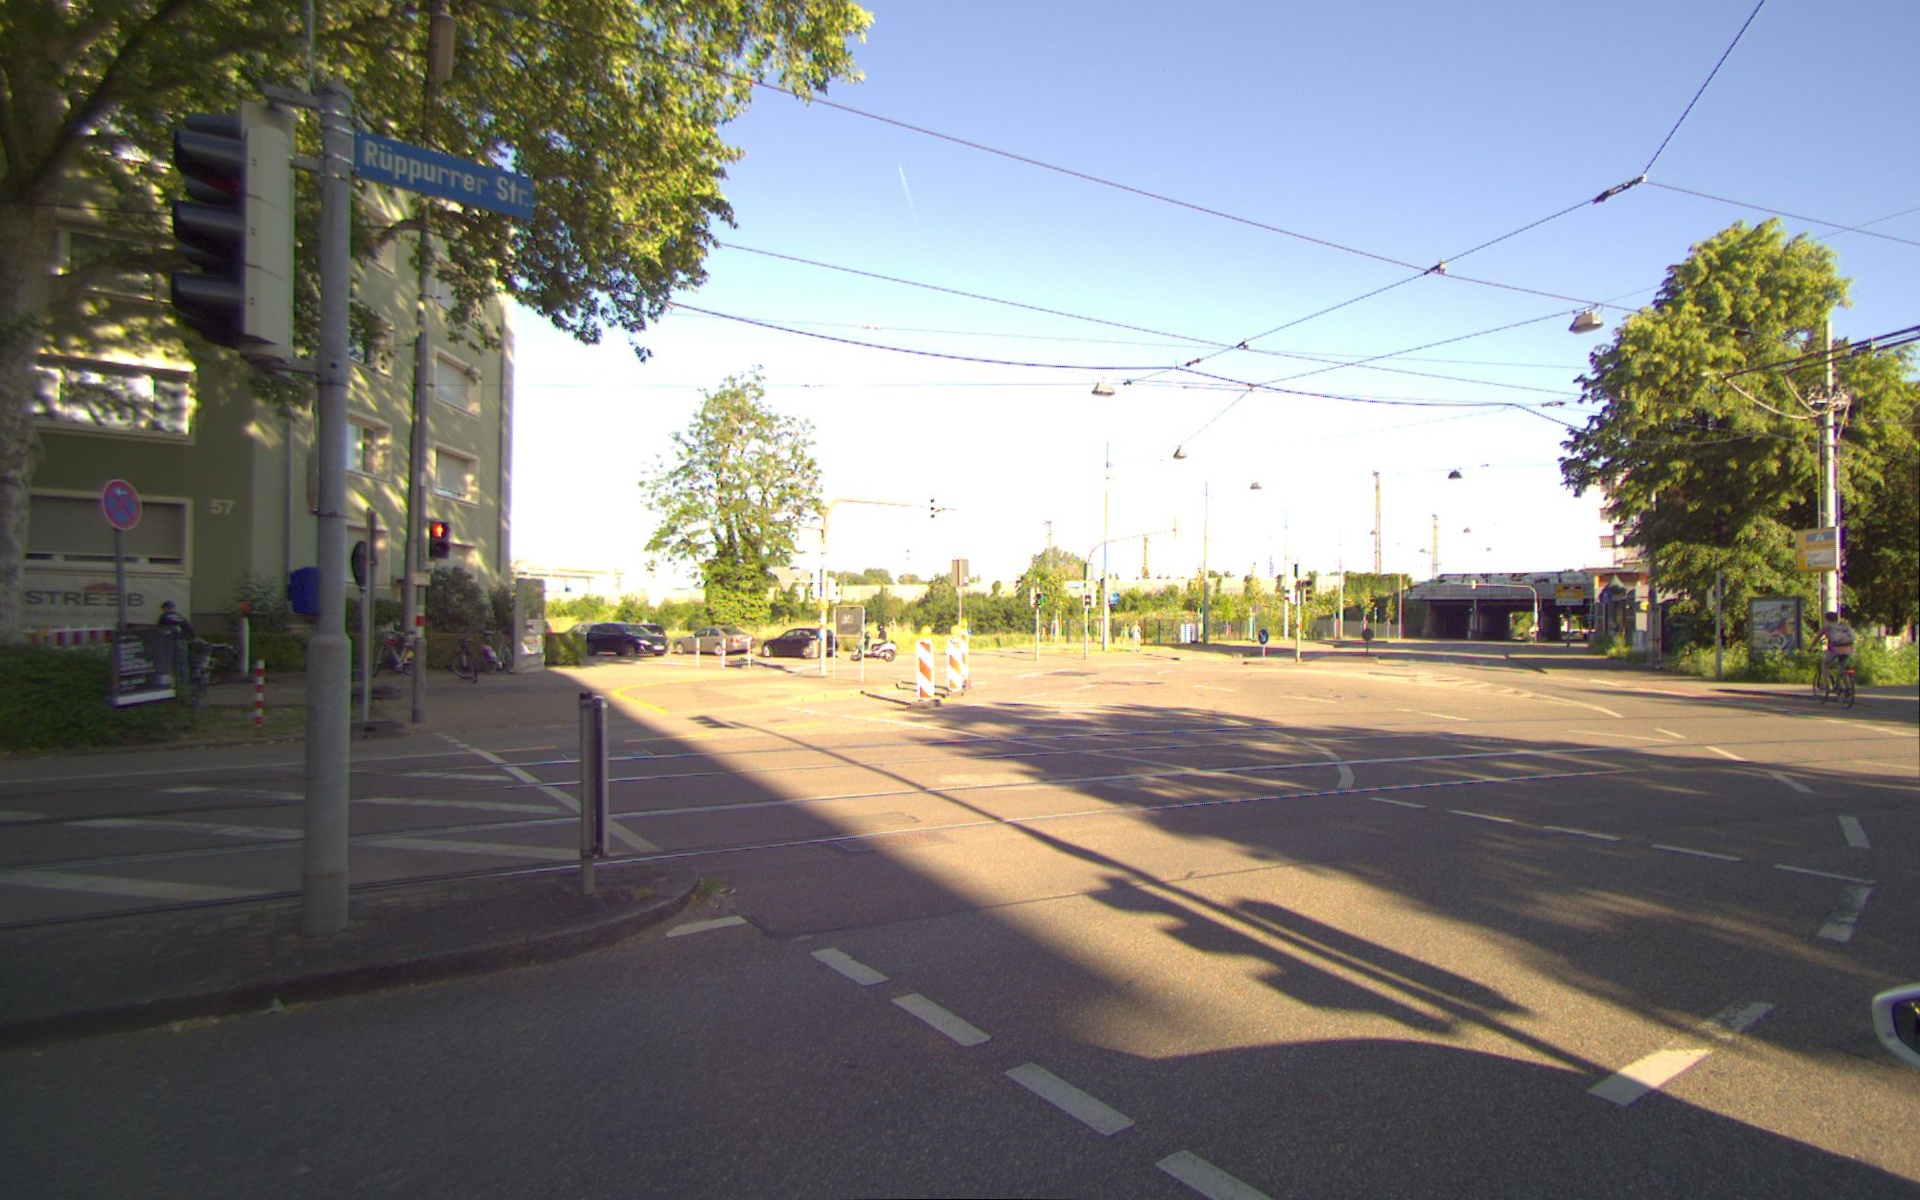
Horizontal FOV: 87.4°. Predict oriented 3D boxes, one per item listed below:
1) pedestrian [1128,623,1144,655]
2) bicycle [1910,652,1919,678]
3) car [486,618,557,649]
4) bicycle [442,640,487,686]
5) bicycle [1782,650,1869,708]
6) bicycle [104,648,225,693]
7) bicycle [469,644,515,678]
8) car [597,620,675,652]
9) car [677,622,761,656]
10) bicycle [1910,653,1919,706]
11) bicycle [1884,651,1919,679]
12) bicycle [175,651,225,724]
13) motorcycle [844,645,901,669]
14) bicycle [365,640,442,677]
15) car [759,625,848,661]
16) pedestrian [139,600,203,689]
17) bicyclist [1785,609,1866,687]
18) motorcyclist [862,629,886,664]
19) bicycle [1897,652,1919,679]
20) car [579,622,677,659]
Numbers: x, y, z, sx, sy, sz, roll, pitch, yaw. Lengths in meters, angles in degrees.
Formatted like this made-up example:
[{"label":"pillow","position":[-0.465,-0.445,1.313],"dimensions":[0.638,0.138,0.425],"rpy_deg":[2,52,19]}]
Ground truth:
[{"label":"pedestrian","position":[9.193,2.036,52.430],"dimensions":[0.591,1.617,0.683],"rpy_deg":[2,-1,32]},{"label":"bicycle","position":[34.136,2.270,34.644],"dimensions":[0.651,0.918,1.871],"rpy_deg":[1,-1,-25]},{"label":"car","position":[-26.383,1.960,60.408],"dimensions":[3.930,1.590,1.889],"rpy_deg":[0,5,31]},{"label":"bicycle","position":[-10.686,1.339,21.632],"dimensions":[0.356,0.900,1.757],"rpy_deg":[2,-1,-44]},{"label":"bicycle","position":[17.632,1.585,20.516],"dimensions":[0.656,1.073,2.082],"rpy_deg":[0,-1,21]},{"label":"bicycle","position":[-14.894,1.301,18.854],"dimensions":[0.352,0.769,1.777],"rpy_deg":[0,-1,30]},{"label":"bicycle","position":[-11.494,1.488,24.714],"dimensions":[0.351,0.769,1.780],"rpy_deg":[1,-1,-2]},{"label":"car","position":[-17.684,1.917,54.760],"dimensions":[3.930,1.439,1.889],"rpy_deg":[0,5,31]},{"label":"car","position":[-12.310,1.943,51.269],"dimensions":[3.930,1.439,1.889],"rpy_deg":[0,5,31]},{"label":"bicycle","position":[20.558,1.647,20.799],"dimensions":[1.861,1.073,0.821],"rpy_deg":[1,-1,-31]},{"label":"bicycle","position":[32.479,2.197,33.834],"dimensions":[0.651,0.918,1.871],"rpy_deg":[1,-1,-25]},{"label":"bicycle","position":[-10.484,1.178,13.838],"dimensions":[0.356,0.900,1.553],"rpy_deg":[2,-1,-44]},{"label":"motorcycle","position":[-3.699,2.415,42.504],"dimensions":[2.296,0.882,0.733],"rpy_deg":[2,-1,11]},{"label":"bicycle","position":[-12.465,1.306,22.549],"dimensions":[0.351,0.769,1.781],"rpy_deg":[0,-1,15]},{"label":"car","position":[-7.523,2.037,48.227],"dimensions":[3.930,1.439,1.889],"rpy_deg":[0,5,31]},{"label":"pedestrian","position":[-14.531,0.805,18.512],"dimensions":[0.591,1.589,0.741],"rpy_deg":[0,-1,30]},{"label":"bicyclist","position":[17.594,0.954,20.460],"dimensions":[0.826,1.530,1.368],"rpy_deg":[0,-1,21]},{"label":"motorcyclist","position":[-3.633,1.962,42.497],"dimensions":[0.779,1.452,0.715],"rpy_deg":[2,-1,11]},{"label":"bicycle","position":[33.340,2.258,34.292],"dimensions":[0.651,0.918,1.871],"rpy_deg":[1,-1,-25]},{"label":"car","position":[-14.506,1.744,43.835],"dimensions":[3.930,1.439,1.995],"rpy_deg":[0,0,31]}]
